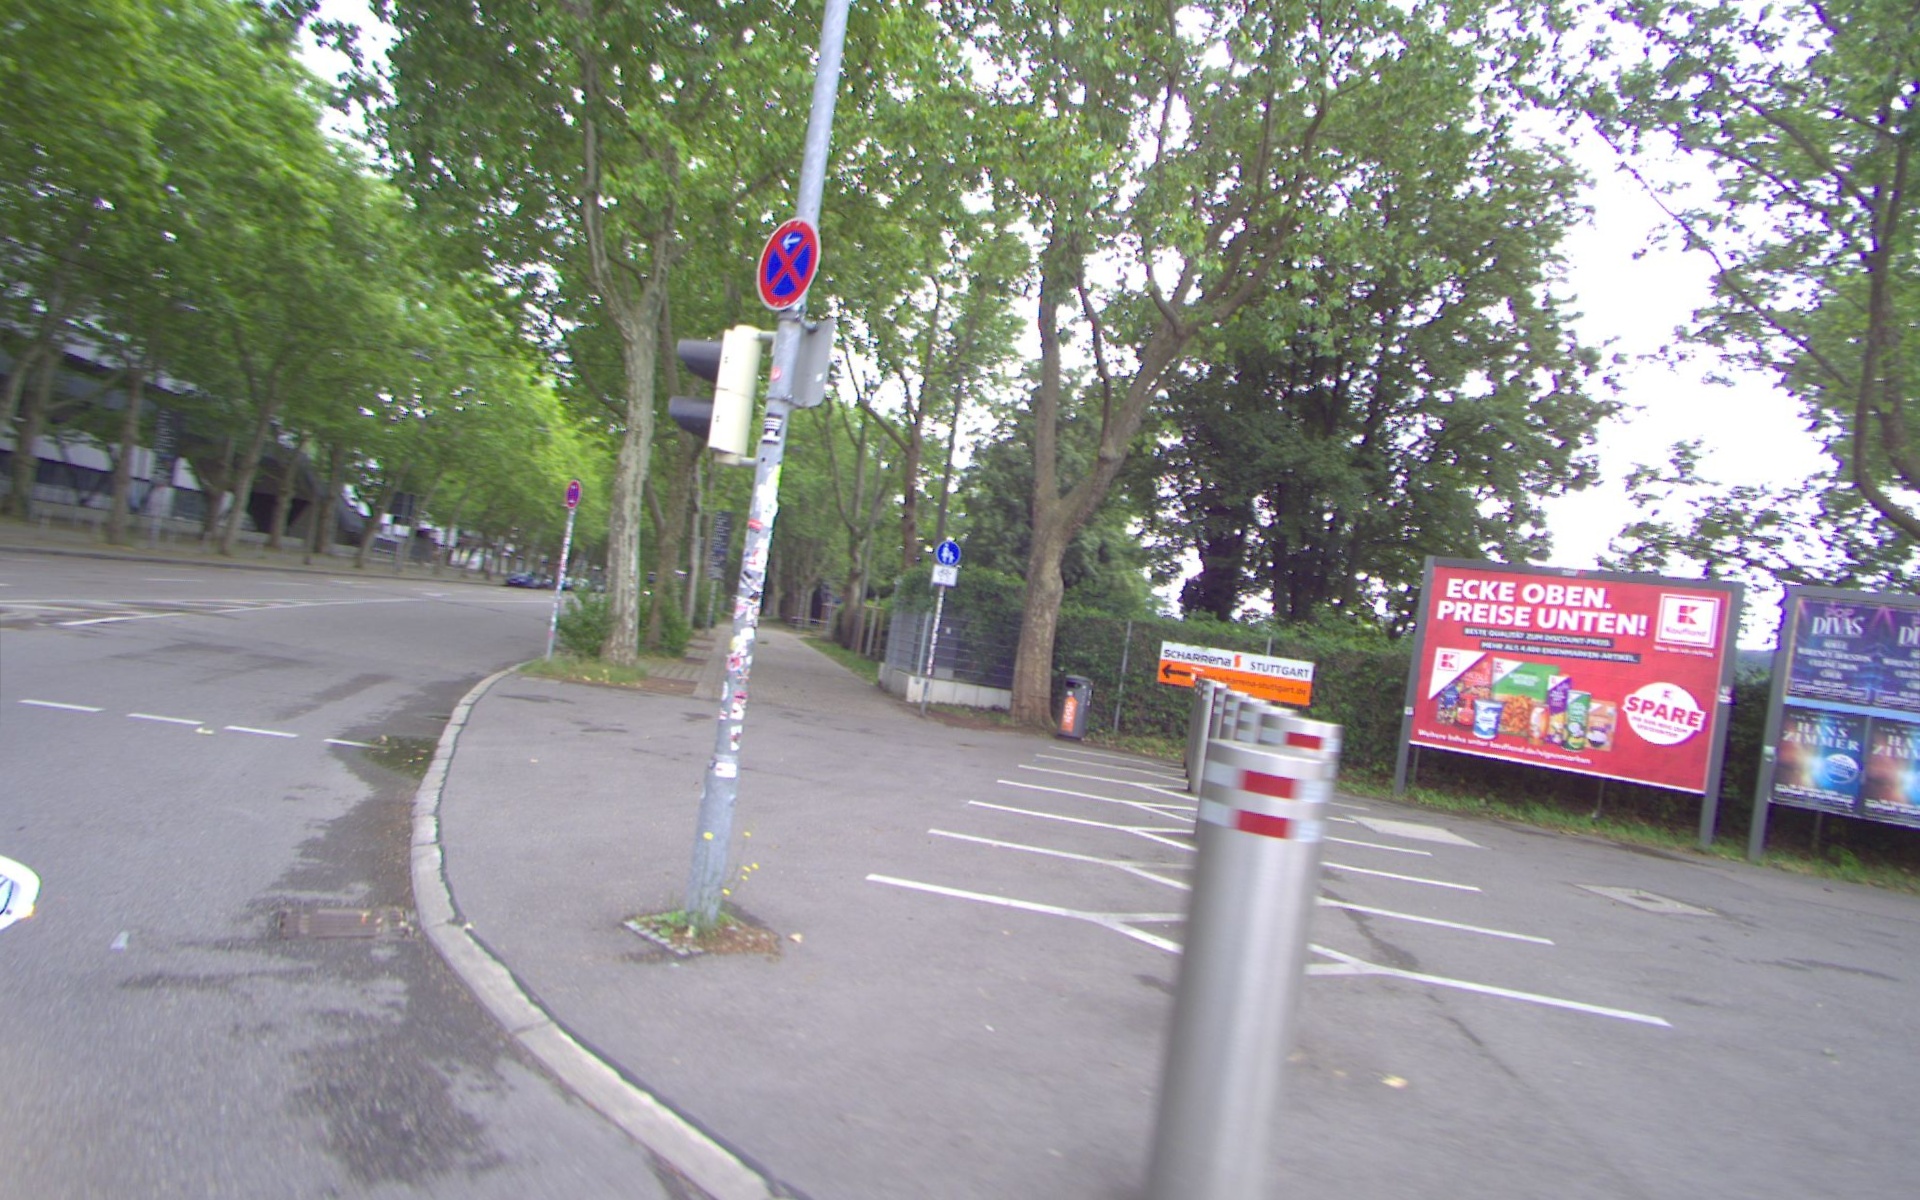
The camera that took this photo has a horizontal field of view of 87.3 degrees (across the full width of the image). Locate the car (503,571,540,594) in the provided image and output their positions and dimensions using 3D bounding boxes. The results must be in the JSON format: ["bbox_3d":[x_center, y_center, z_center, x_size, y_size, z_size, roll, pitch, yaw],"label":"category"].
[{"bbox_3d":[-35.726,-1.406,82.021,1.671,1.434,3.760,6,-3,-8],"label":"car"}]

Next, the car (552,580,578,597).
[{"bbox_3d":[-39.622,-1.137,101.057,1.743,1.434,3.756,7,-3,-13],"label":"car"}]

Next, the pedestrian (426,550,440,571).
[{"bbox_3d":[-50.887,-3.797,97.135,0.867,1.855,0.769,8,-2,43],"label":"pedestrian"}]

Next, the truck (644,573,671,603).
[{"bbox_3d":[-47.385,-1.819,157.822,2.606,3.945,9.529,8,-2,-10],"label":"truck"}]

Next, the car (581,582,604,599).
[{"bbox_3d":[-41.578,-1.040,113.776,1.872,1.453,3.994,8,-4,-14],"label":"car"}]
